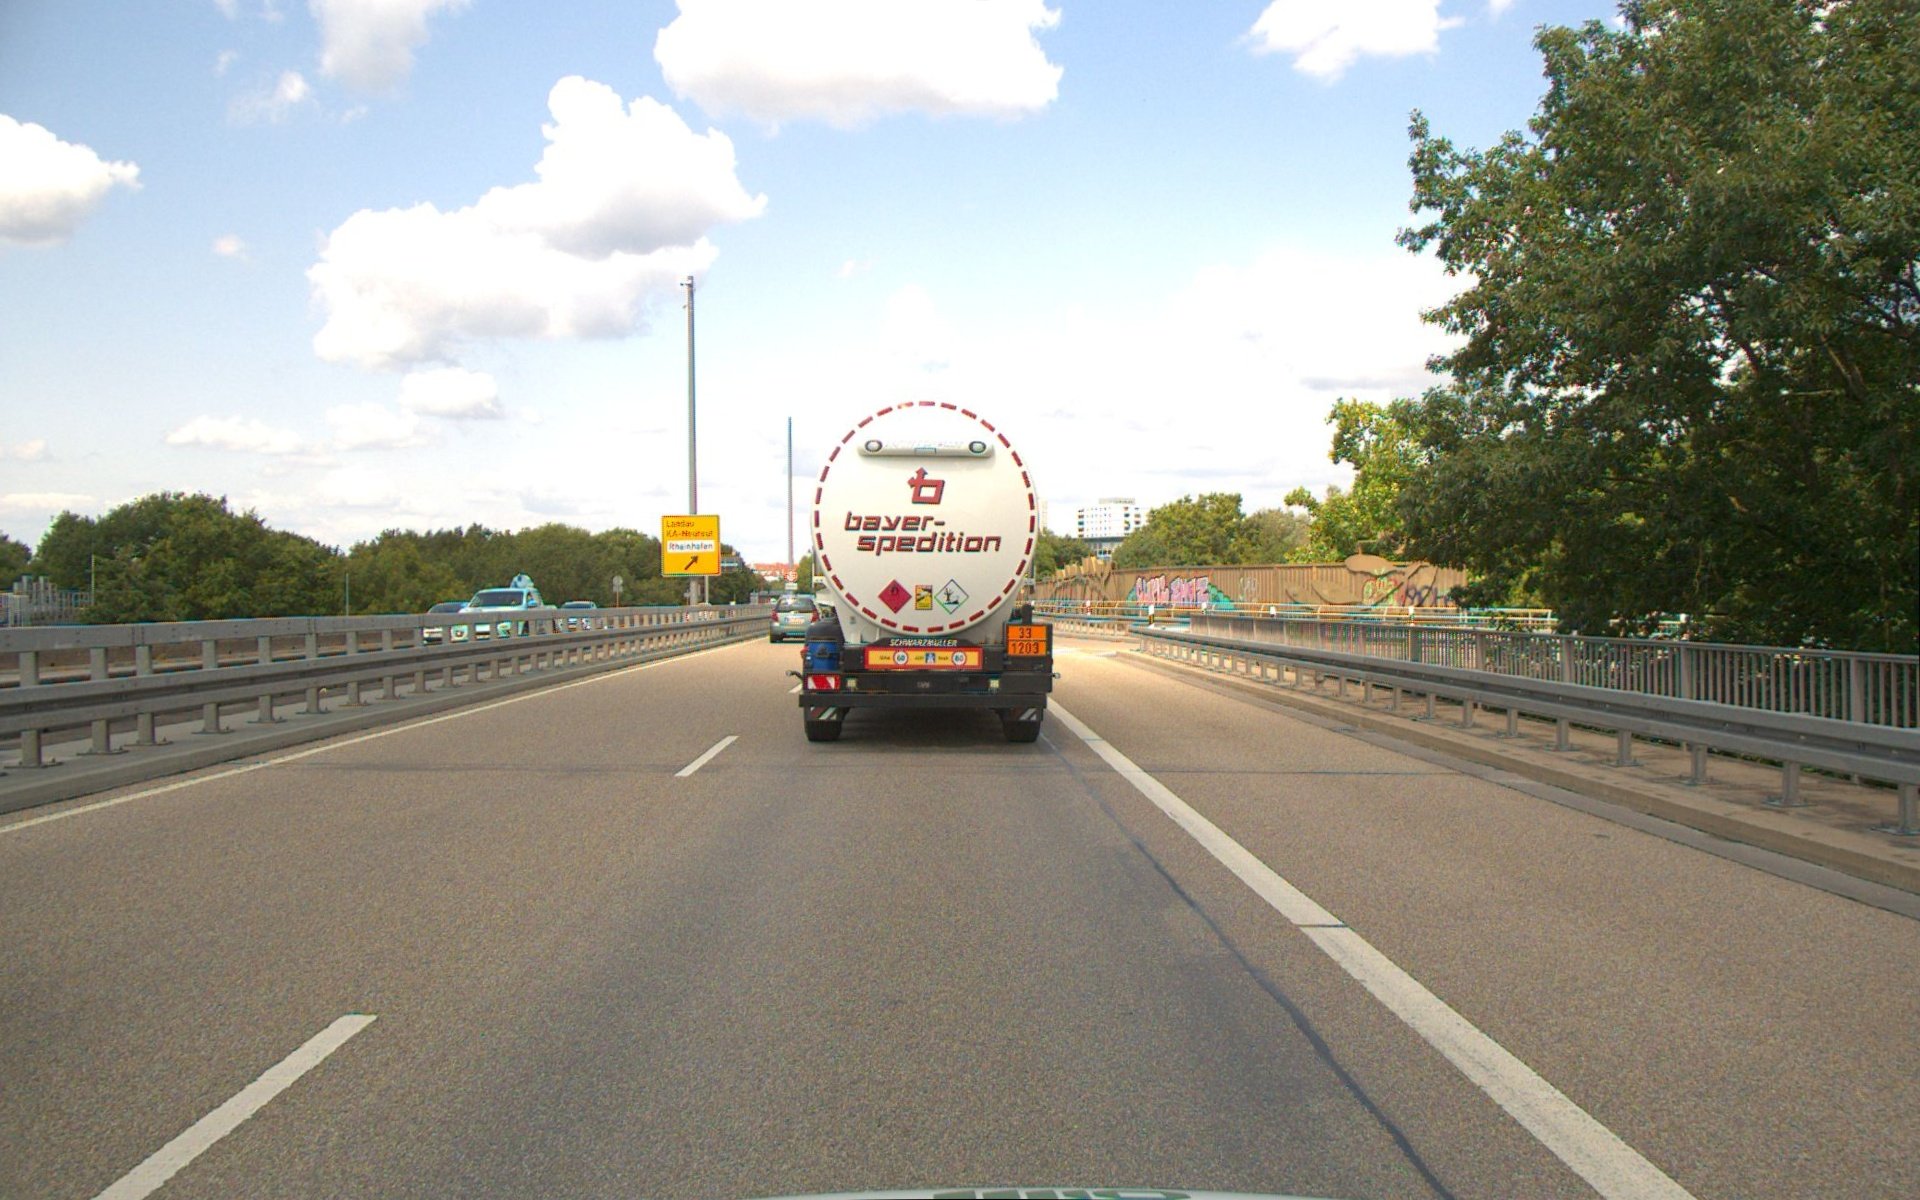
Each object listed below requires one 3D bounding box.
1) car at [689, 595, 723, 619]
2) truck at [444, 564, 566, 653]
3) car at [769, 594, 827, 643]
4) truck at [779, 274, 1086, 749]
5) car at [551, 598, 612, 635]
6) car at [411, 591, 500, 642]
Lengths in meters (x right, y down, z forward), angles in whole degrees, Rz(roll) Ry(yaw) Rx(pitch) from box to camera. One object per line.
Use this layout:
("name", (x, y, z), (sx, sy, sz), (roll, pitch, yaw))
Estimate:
("car", (-18.284, 0.501, 119.296), (1.761, 1.624, 4.711), (1, 0, -1))
("truck", (-12.149, 0.208, 44.531), (1.834, 2.225, 5.187), (1, 0, 0))
("car", (-5.469, 0.599, 56.183), (1.712, 1.558, 3.999), (0, 0, -2))
("truck", (-0.409, -0.831, 19.636), (2.837, 4.445, 8.026), (1, 0, -2))
("car", (-16.252, 0.687, 71.272), (1.864, 1.556, 4.240), (1, 0, -4))
("car", (-16.962, 0.534, 55.775), (1.792, 1.609, 3.953), (1, 0, 0))
